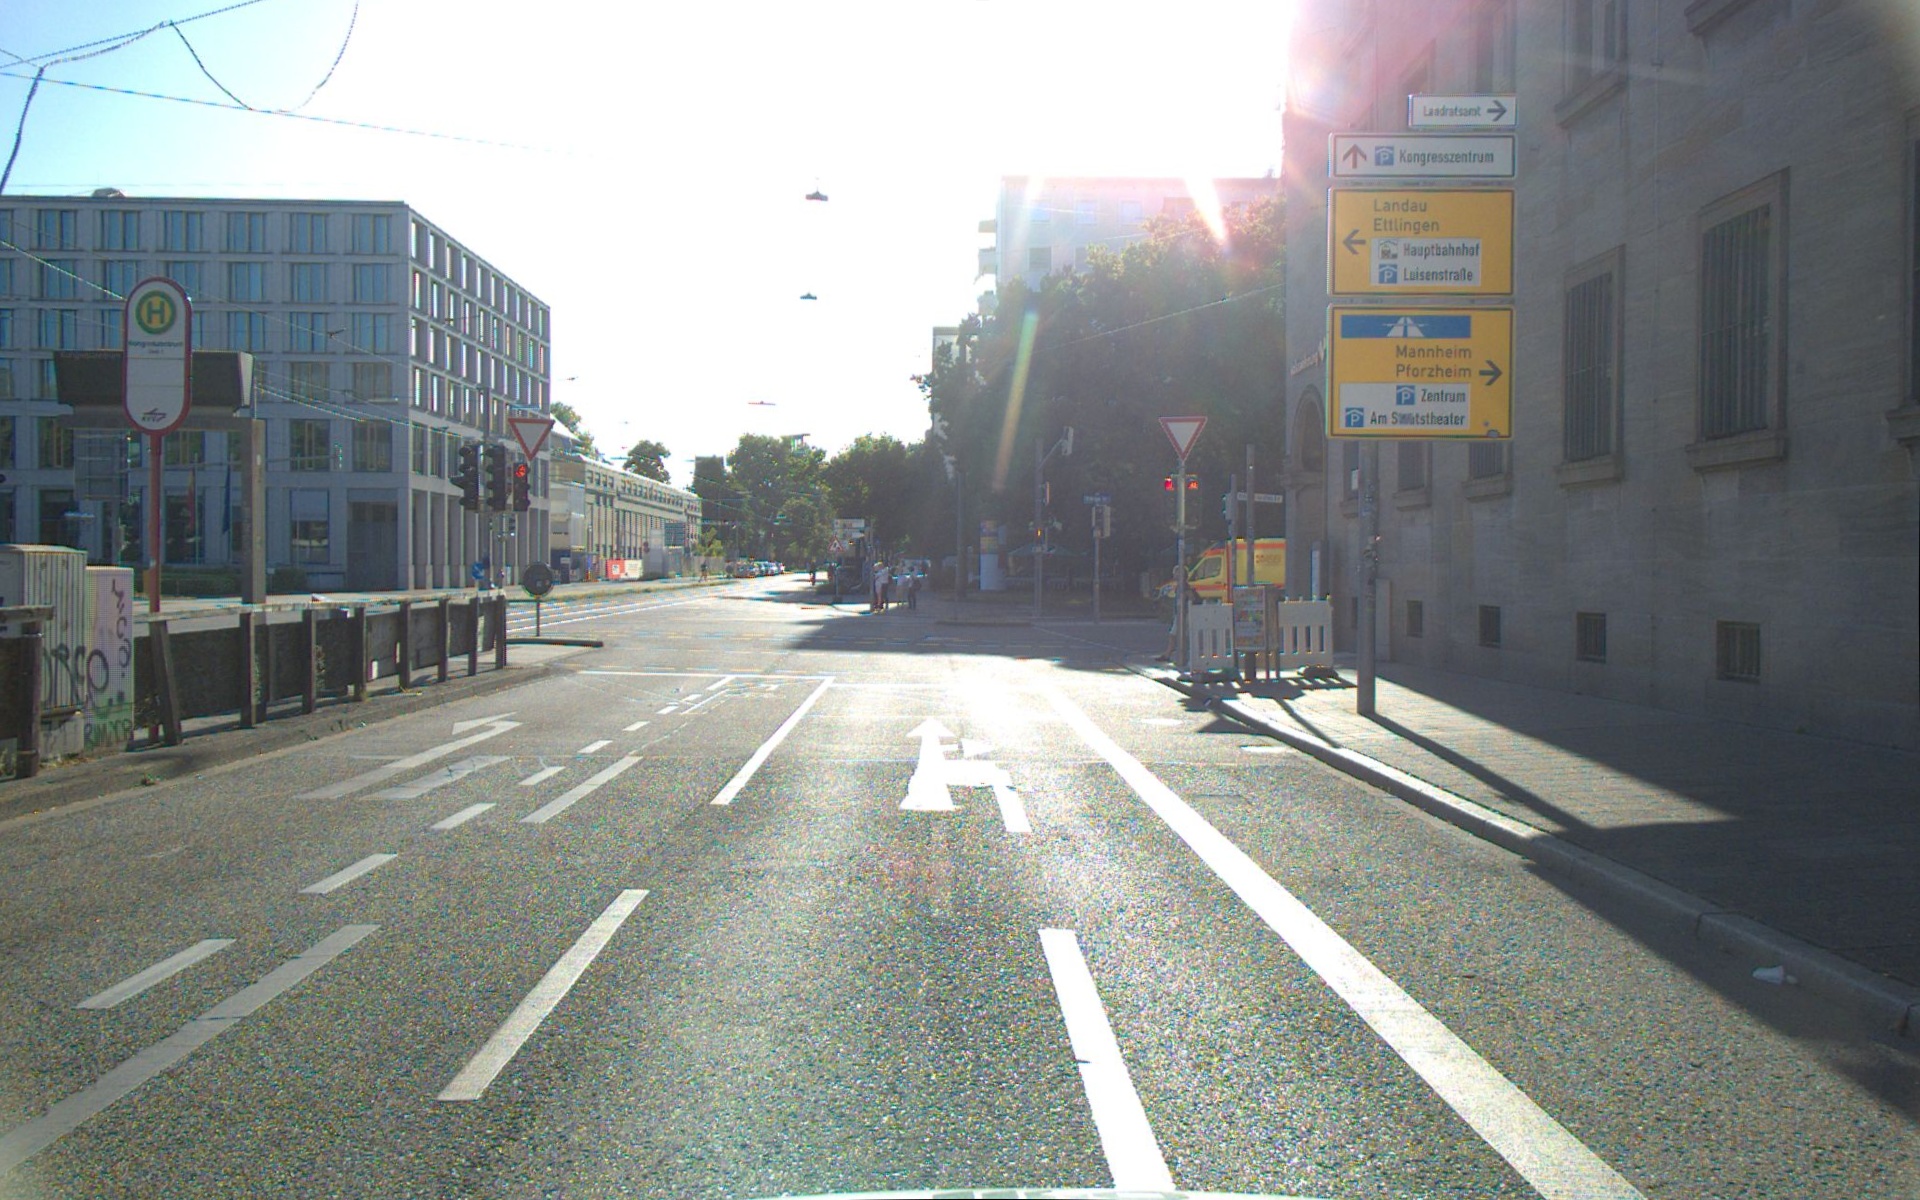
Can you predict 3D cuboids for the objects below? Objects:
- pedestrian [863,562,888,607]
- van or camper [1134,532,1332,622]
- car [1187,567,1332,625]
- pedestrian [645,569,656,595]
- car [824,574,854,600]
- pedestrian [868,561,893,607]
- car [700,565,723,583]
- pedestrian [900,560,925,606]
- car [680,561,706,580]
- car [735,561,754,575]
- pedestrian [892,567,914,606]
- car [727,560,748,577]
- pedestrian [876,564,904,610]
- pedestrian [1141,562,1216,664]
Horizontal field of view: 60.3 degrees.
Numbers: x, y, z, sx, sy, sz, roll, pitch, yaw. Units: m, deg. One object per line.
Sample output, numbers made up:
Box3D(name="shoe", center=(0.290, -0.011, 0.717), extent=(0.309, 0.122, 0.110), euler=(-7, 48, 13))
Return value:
Box3D(name="pedestrian", center=(-3.431, -0.636, 66.910), extent=(0.834, 1.815, 0.776), euler=(0, 1, -17))
Box3D(name="van or camper", center=(9.563, -0.794, 58.576), extent=(6.568, 2.911, 2.912), euler=(2, 0, 3))
Box3D(name="car", center=(9.474, -0.122, 52.602), extent=(4.226, 1.676, 1.888), euler=(2, 0, -1))
Box3D(name="pedestrian", center=(-16.674, -0.970, 89.153), extent=(0.501, 1.352, 0.369), euler=(0, 0, 0))
Box3D(name="car", center=(-7.472, -0.796, 102.176), extent=(1.650, 1.527, 3.508), euler=(2, 0, -1))
Box3D(name="pedestrian", center=(-3.193, -0.631, 66.115), extent=(0.834, 1.815, 0.776), euler=(0, 1, -17))
Box3D(name="car", center=(-24.518, -2.573, 163.307), extent=(1.782, 1.742, 3.805), euler=(0, 1, -1))
Box3D(name="pedestrian", center=(-1.896, -0.672, 65.803), extent=(0.834, 1.815, 0.776), euler=(0, 1, -17))
Box3D(name="car", center=(-24.618, -2.688, 152.632), extent=(1.782, 1.742, 3.805), euler=(0, 1, -1))
Box3D(name="car", center=(-23.351, -3.502, 179.367), extent=(1.577, 1.524, 3.805), euler=(0, 1, -1))
Box3D(name="pedestrian", center=(-2.299, -0.544, 66.651), extent=(0.750, 1.586, 0.585), euler=(0, 1, -17))
Box3D(name="car", center=(-23.556, -3.336, 175.242), extent=(1.782, 1.742, 3.805), euler=(0, 1, -1))
Box3D(name="pedestrian", center=(-2.747, -0.511, 64.658), extent=(0.951, 1.815, 0.776), euler=(0, 1, -17))
Box3D(name="pedestrian", center=(3.826, 0.214, 28.983), extent=(1.021, 1.751, 1.032), euler=(0, 1, -13))
